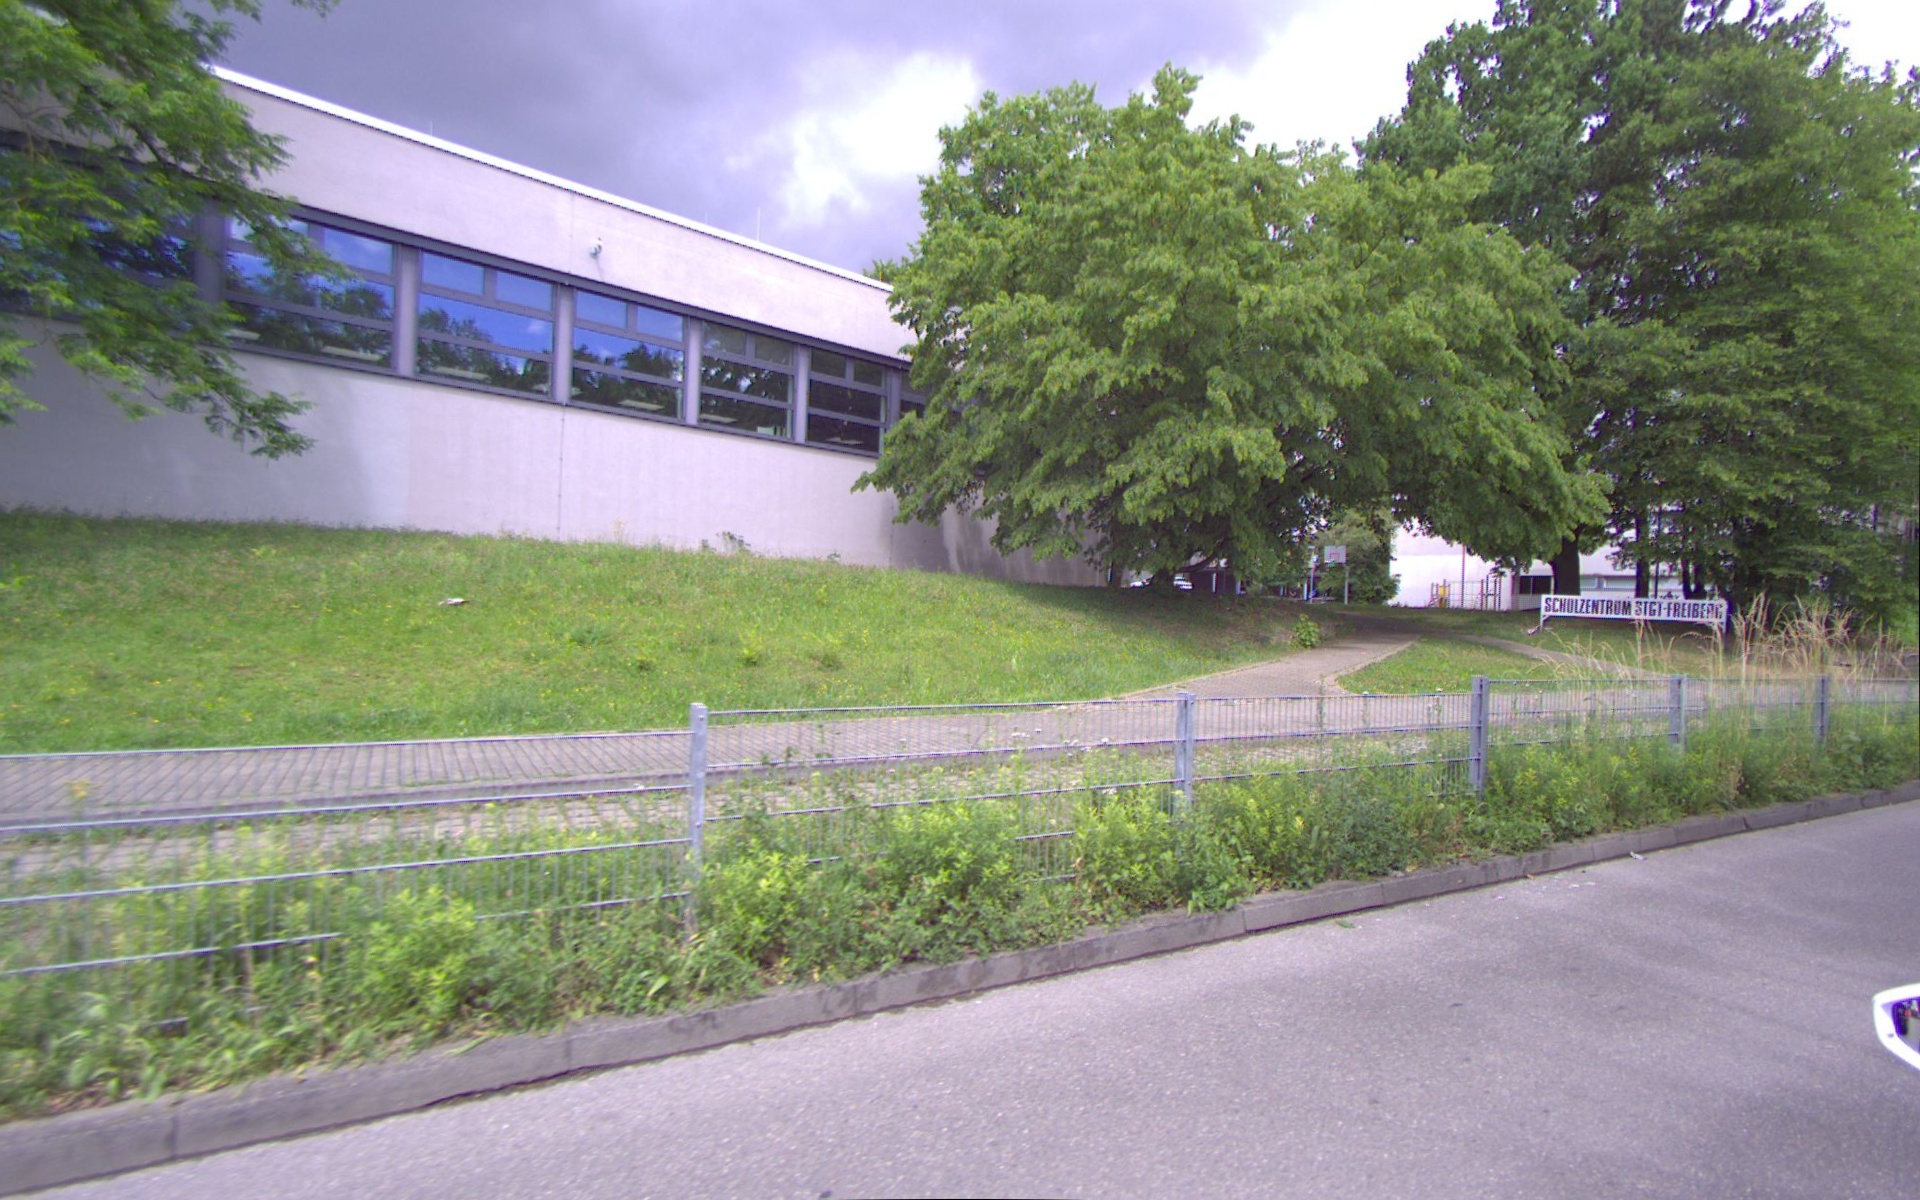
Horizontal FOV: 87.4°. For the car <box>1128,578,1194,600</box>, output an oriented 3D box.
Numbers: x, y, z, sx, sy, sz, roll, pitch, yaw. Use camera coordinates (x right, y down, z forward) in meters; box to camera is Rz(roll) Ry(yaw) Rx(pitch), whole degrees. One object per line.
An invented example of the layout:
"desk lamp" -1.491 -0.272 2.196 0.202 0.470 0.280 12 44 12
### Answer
"car" 13.404 -0.729 67.059 4.037 1.367 1.688 0 -1 44
